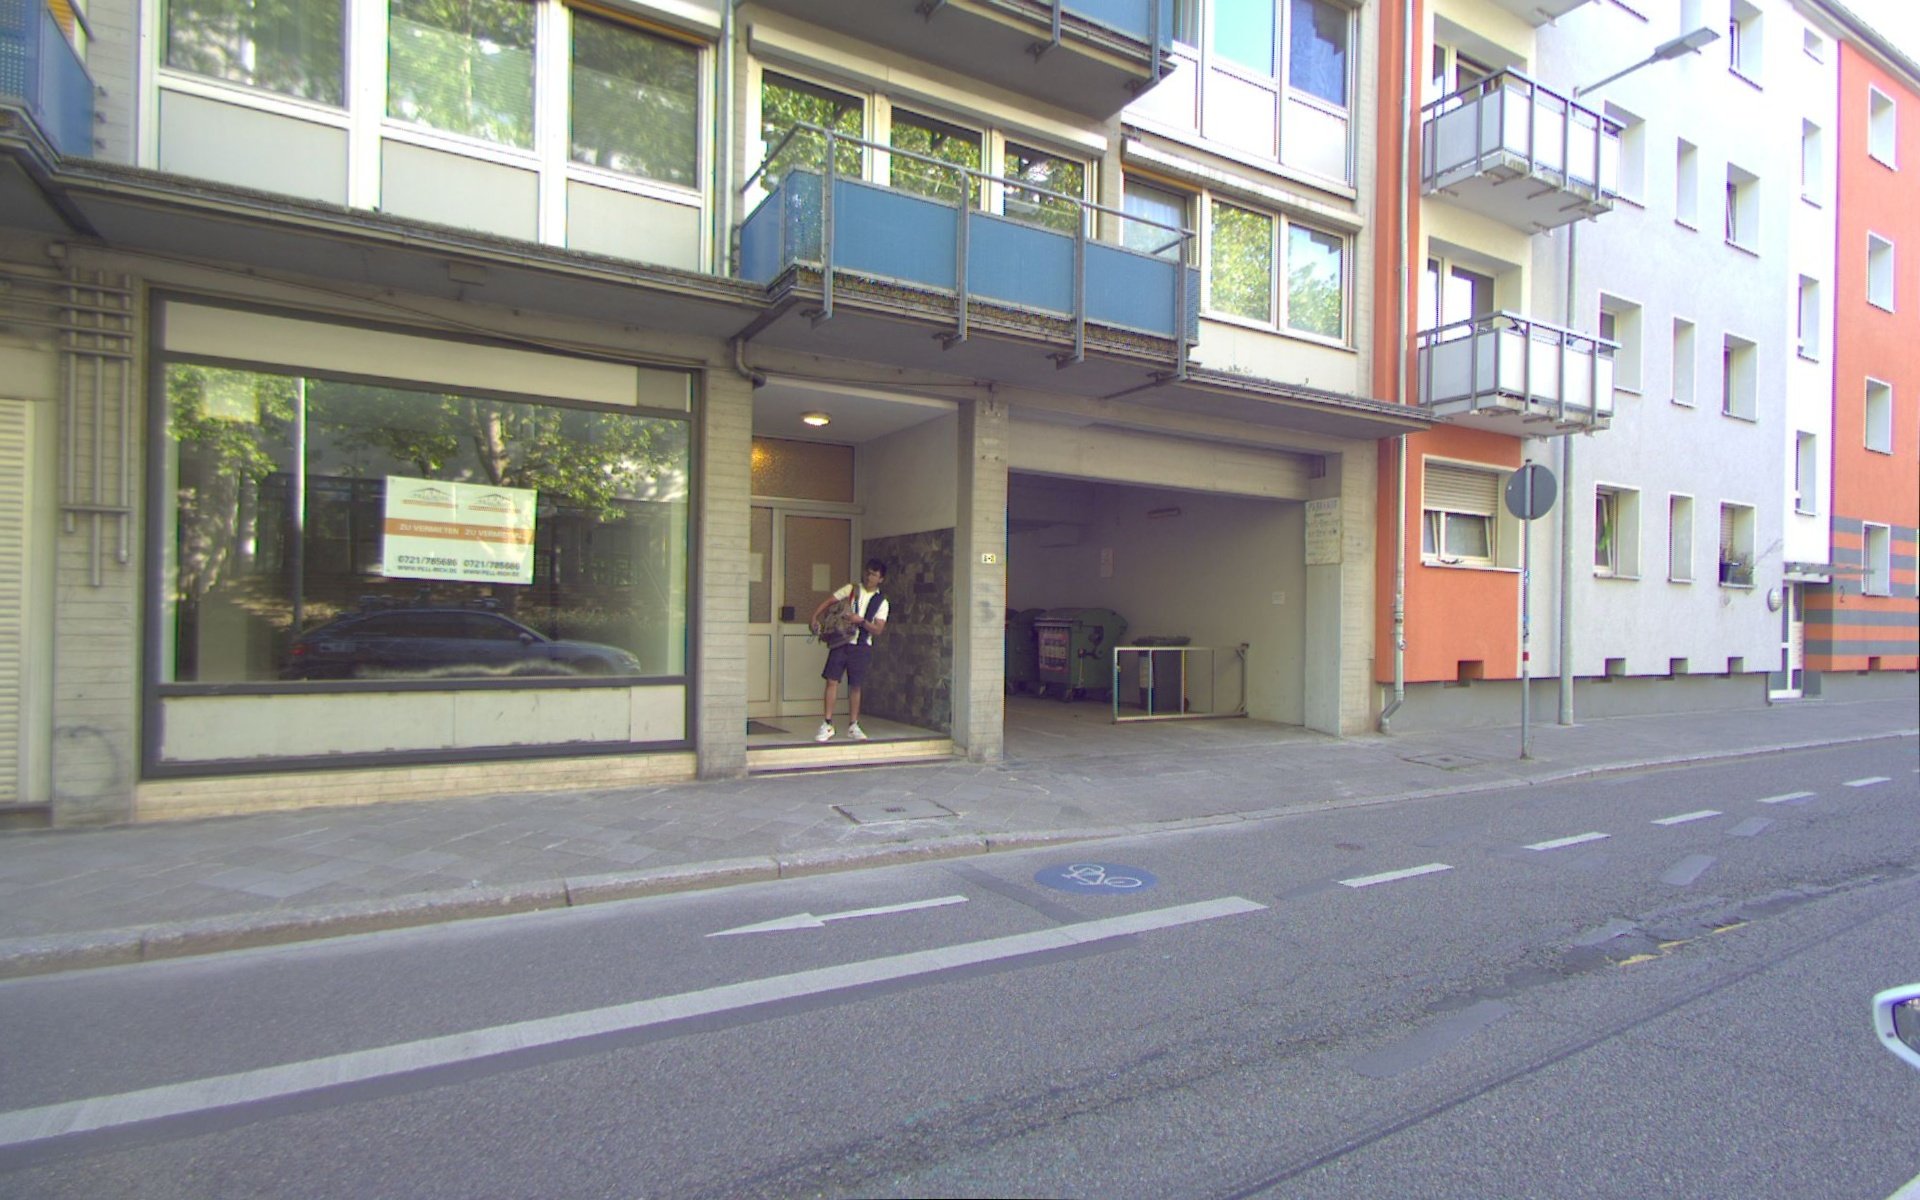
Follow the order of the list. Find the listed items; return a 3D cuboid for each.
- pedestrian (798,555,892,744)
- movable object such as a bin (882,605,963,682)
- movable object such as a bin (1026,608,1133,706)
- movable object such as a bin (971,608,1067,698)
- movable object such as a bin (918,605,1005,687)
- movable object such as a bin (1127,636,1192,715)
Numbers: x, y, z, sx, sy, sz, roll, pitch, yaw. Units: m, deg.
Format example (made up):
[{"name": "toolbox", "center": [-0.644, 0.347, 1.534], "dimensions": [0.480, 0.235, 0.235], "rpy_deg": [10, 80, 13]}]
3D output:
[{"name": "pedestrian", "center": [-1.041, 0.441, 9.252], "dimensions": [0.778, 1.639, 0.836], "rpy_deg": [2, 0, -5]}, {"name": "movable object such as a bin", "center": [-0.753, 0.838, 19.786], "dimensions": [1.120, 1.444, 1.268], "rpy_deg": [2, 0, -28]}, {"name": "movable object such as a bin", "center": [1.864, 0.876, 15.809], "dimensions": [1.120, 1.444, 1.268], "rpy_deg": [2, 0, -28]}, {"name": "movable object such as a bin", "center": [0.996, 0.887, 17.151], "dimensions": [1.120, 1.444, 1.268], "rpy_deg": [2, 0, -28]}, {"name": "movable object such as a bin", "center": [0.020, 0.835, 18.696], "dimensions": [1.120, 1.444, 1.268], "rpy_deg": [2, 0, -28]}, {"name": "movable object such as a bin", "center": [2.876, 1.075, 14.485], "dimensions": [0.713, 1.094, 0.533], "rpy_deg": [2, 0, -29]}]
